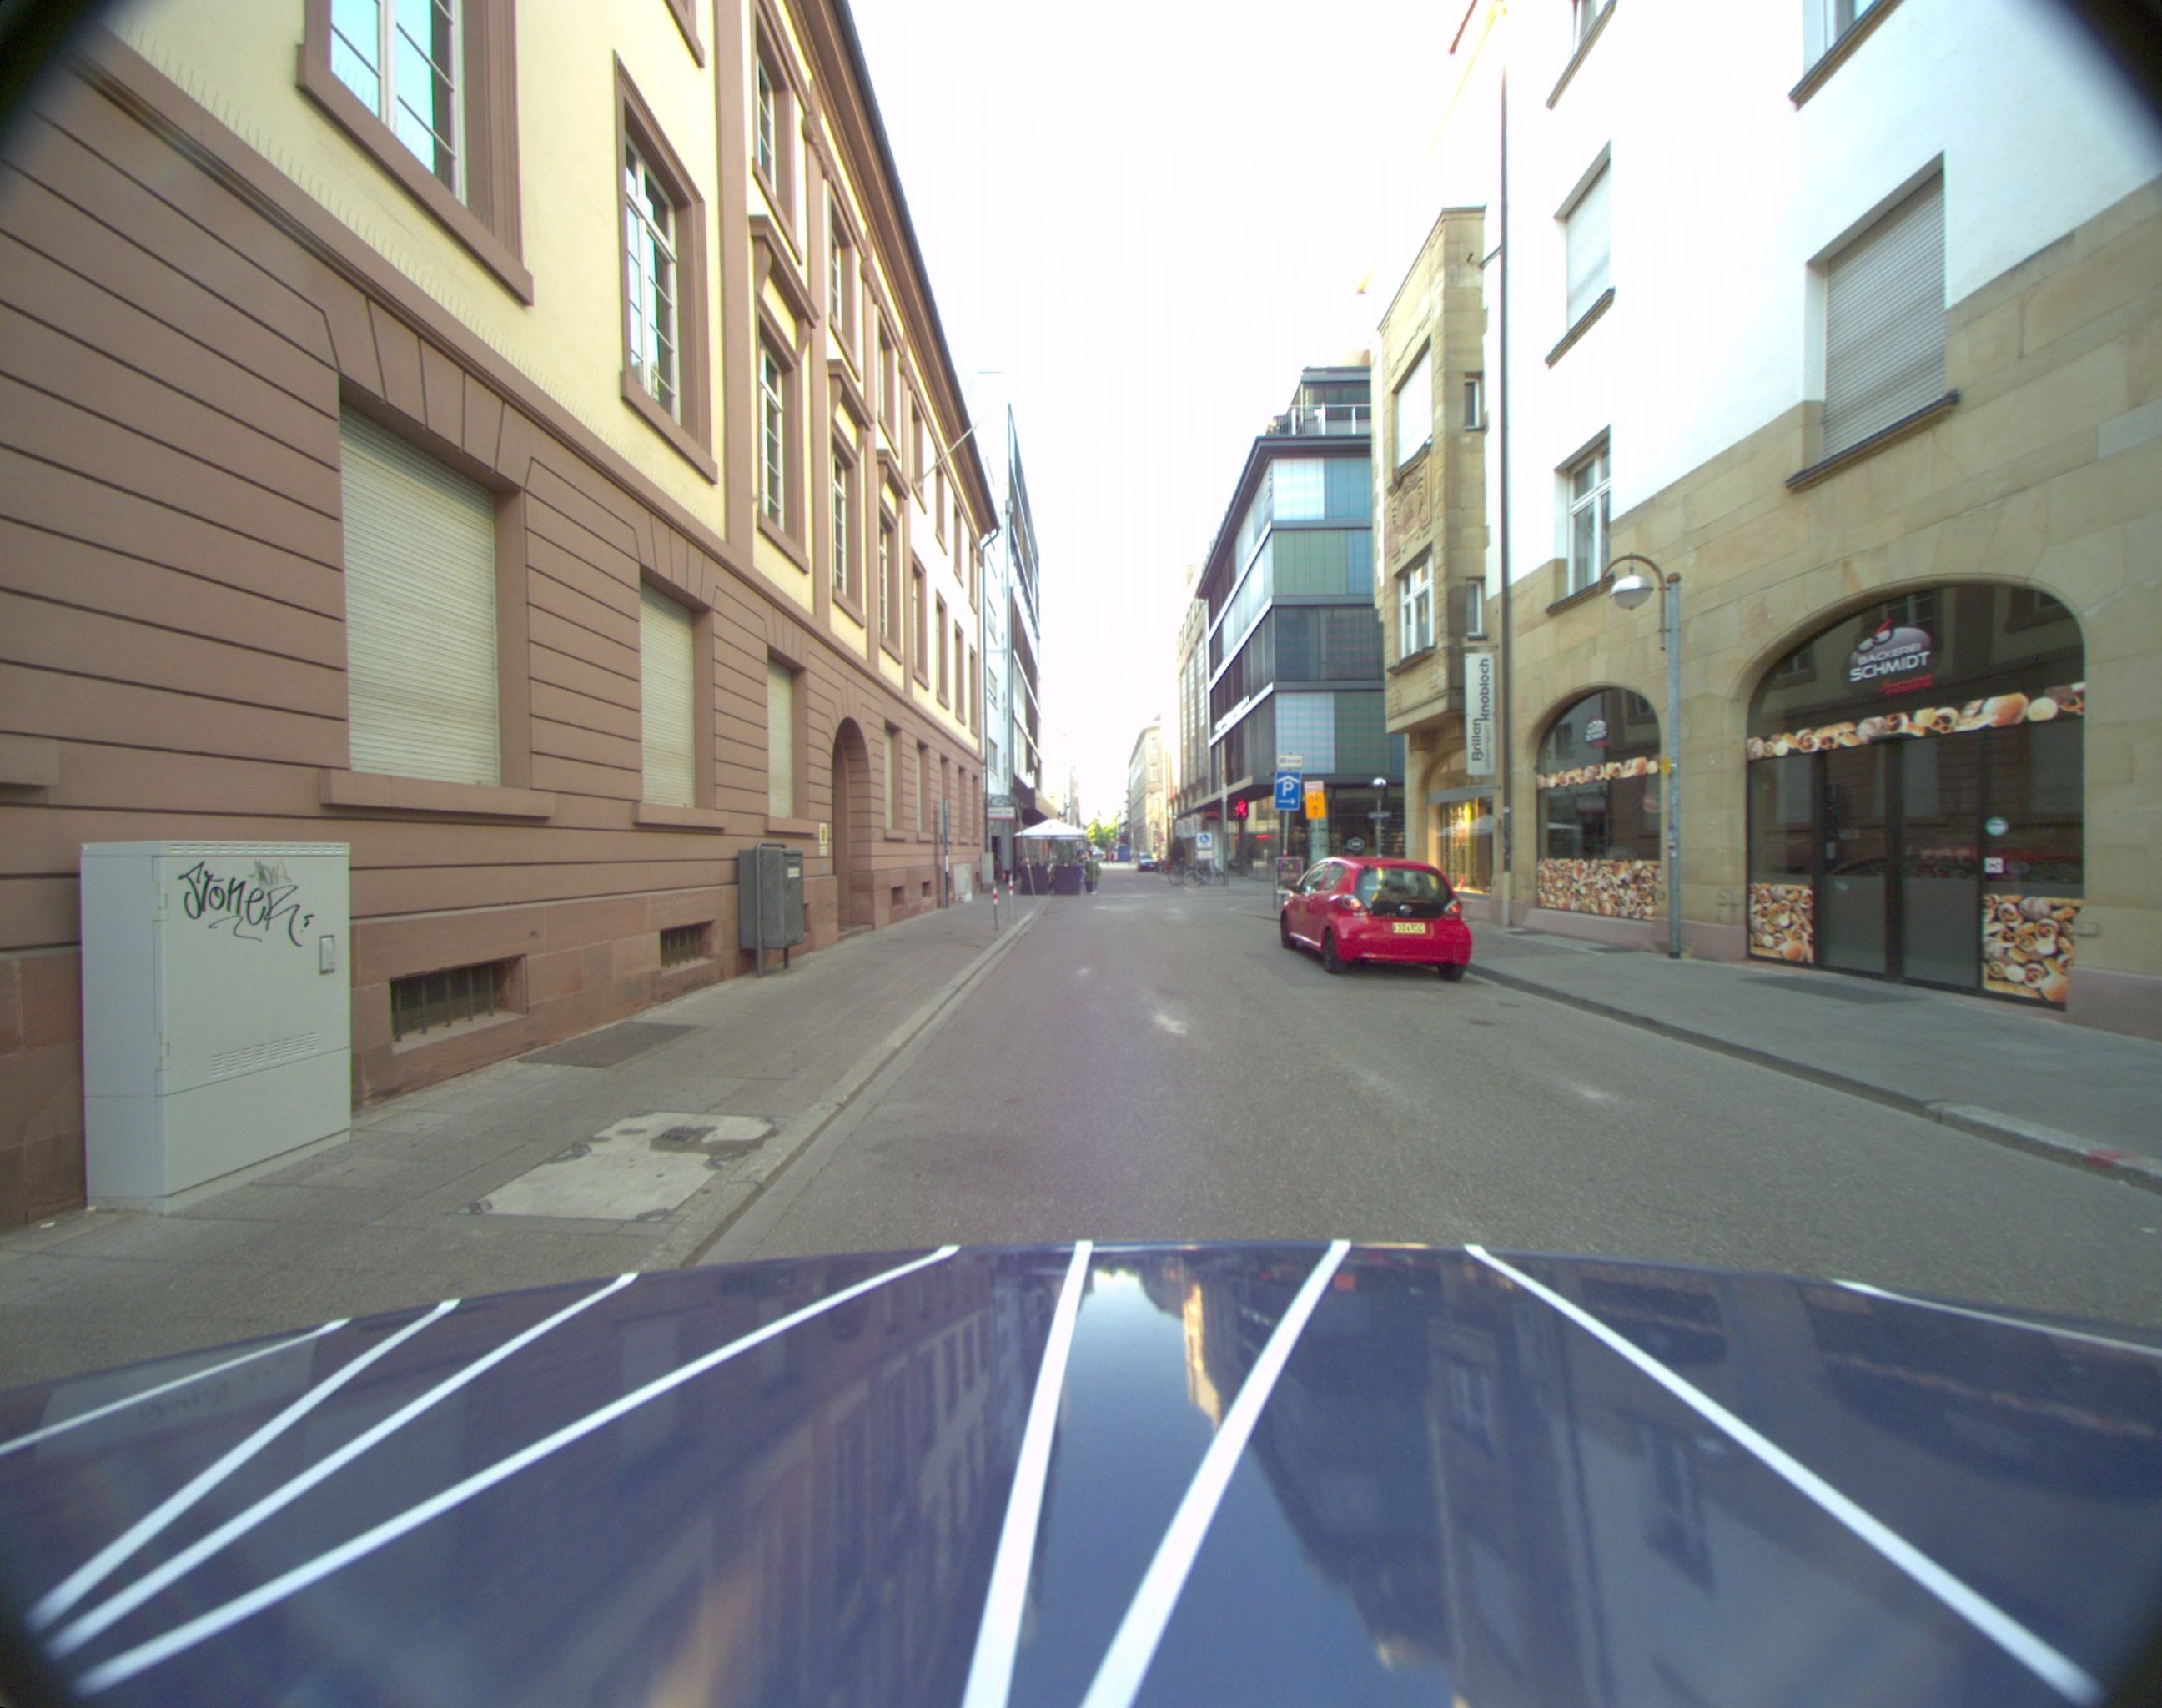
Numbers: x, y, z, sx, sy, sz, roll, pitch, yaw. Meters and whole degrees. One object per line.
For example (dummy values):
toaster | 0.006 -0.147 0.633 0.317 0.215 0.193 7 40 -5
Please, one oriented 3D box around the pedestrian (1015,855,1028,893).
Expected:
pedestrian | -2.066 0.703 26.323 0.363 1.298 0.494 -1 1 -13

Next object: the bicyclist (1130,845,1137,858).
bicyclist | 5.813 -0.288 83.678 0.582 1.393 0.517 -2 1 -15

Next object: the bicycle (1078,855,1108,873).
bicycle | 0.862 0.665 52.942 2.038 1.161 0.619 2 1 0

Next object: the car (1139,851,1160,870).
car | 5.350 0.477 59.120 1.602 1.415 3.605 -1 0 5

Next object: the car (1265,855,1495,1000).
car | 3.826 0.829 10.494 1.661 1.461 3.932 3 1 2

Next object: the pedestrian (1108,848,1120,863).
pedestrian | 3.641 0.151 83.954 0.917 1.563 0.995 0 1 45

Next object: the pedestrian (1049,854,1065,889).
pedestrian | -0.977 0.733 31.398 0.575 1.412 0.868 -1 1 2

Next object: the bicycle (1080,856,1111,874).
bicycle | 0.946 0.725 51.377 2.038 1.161 0.665 2 1 0

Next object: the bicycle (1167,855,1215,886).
bicycle | 4.655 0.695 32.167 1.902 1.174 0.517 -3 -1 0

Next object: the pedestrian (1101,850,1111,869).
pedestrian | 2.590 0.561 78.989 0.804 2.002 0.878 -1 1 -6

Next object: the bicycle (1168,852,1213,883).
bicycle | 5.022 0.621 34.876 1.902 1.262 0.538 -5 1 2

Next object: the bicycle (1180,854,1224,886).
bicycle | 4.883 0.650 30.651 1.669 1.197 0.509 -3 1 1

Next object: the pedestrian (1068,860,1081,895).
pedestrian | -0.226 0.819 26.302 0.400 1.206 0.383 -1 1 -8

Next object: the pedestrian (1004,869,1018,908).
pedestrian | -3.246 1.590 35.253 0.640 1.762 0.602 -1 1 -4

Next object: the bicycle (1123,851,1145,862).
bicycle | 5.872 0.257 83.701 2.341 1.182 0.517 -1 1 -15
